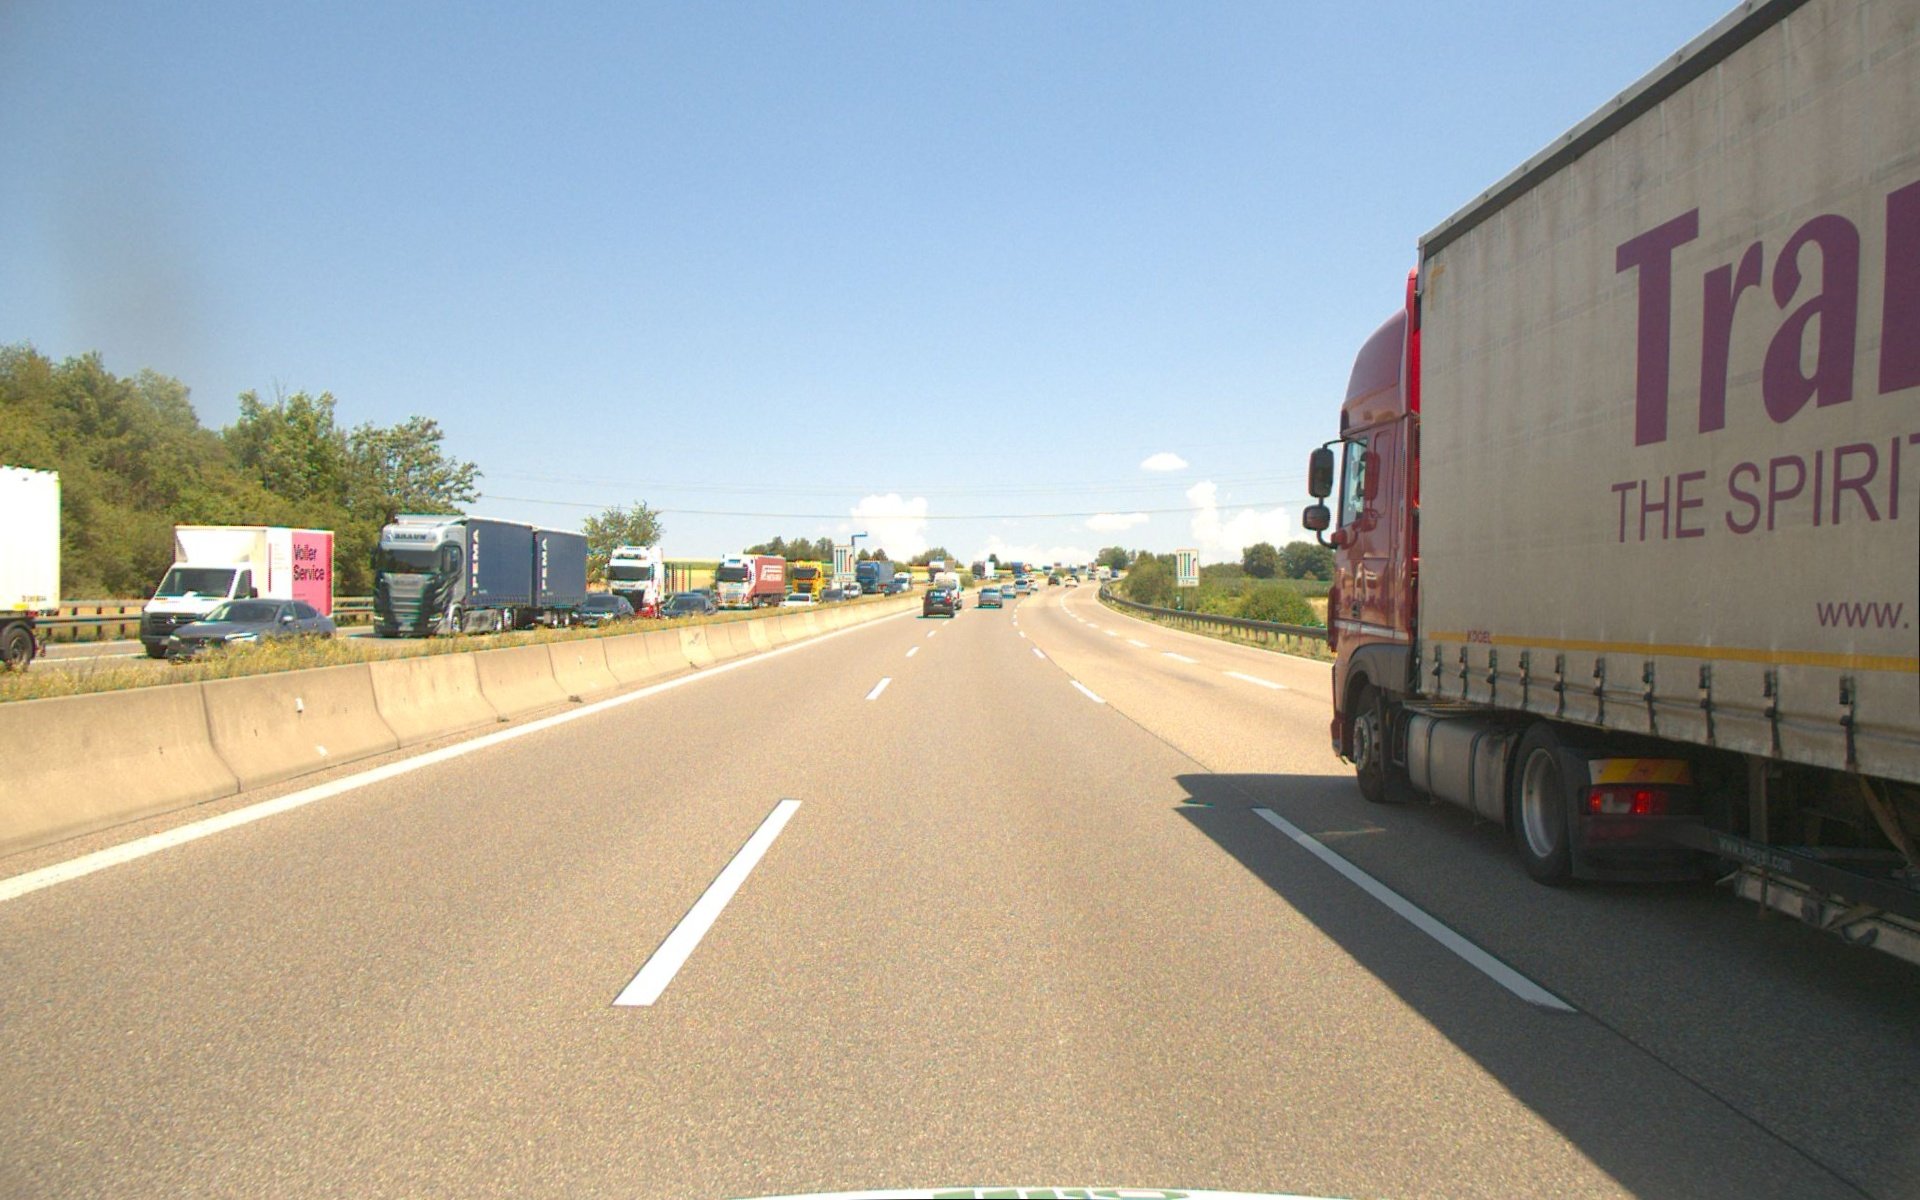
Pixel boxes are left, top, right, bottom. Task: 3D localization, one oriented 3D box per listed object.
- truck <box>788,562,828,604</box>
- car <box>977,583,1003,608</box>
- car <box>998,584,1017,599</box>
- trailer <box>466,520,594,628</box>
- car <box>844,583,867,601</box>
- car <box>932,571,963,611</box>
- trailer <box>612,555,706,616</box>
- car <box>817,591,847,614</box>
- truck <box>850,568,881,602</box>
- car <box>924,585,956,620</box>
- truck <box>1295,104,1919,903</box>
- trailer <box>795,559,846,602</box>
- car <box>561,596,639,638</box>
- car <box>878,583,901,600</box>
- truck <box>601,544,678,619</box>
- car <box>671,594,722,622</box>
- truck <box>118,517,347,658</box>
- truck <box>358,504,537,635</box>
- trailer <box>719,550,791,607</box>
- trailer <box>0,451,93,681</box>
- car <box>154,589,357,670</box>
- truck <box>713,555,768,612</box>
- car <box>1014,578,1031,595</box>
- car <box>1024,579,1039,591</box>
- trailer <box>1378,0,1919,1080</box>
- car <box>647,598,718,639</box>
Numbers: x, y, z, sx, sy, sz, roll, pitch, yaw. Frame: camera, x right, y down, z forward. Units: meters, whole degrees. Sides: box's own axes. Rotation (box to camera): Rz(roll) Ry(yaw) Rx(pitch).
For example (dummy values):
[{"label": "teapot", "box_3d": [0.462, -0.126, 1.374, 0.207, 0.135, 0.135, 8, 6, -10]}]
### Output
[{"label": "truck", "box_3d": [-14.820, -1.688, 161.799, 2.693, 3.904, 7.102, 1, 1, 4]}, {"label": "car", "box_3d": [2.304, -0.352, 126.795, 1.952, 1.781, 4.000, 1, -2, 1]}, {"label": "car", "box_3d": [5.196, -0.924, 179.305, 1.952, 1.613, 4.001, 0, -1, 3]}, {"label": "trailer", "box_3d": [-17.898, -1.059, 69.515, 2.924, 4.266, 8.596, 0, 0, 1]}, {"label": "car", "box_3d": [-10.388, -0.813, 164.165, 1.874, 1.803, 4.763, 1, 0, 1]}, {"label": "car", "box_3d": [-0.916, -0.602, 118.804, 2.135, 2.671, 4.671, 1, -2, -1]}, {"label": "trailer", "box_3d": [-17.306, -0.843, 96.035, 2.799, 3.262, 12.786, 1, 1, 1]}, {"label": "car", "box_3d": [-9.394, 0.161, 121.513, 1.800, 1.611, 4.555, 1, 1, 1]}, {"label": "truck", "box_3d": [-11.695, -1.873, 204.944, 3.011, 4.161, 6.939, 1, 1, 4]}, {"label": "car", "box_3d": [-1.163, 0.119, 94.287, 1.810, 1.893, 4.205, 0, 2, -1]}, {"label": "truck", "box_3d": [4.516, -0.477, 11.757, 2.857, 4.079, 6.510, 1, 0, -1]}, {"label": "trailer", "box_3d": [-14.166, -1.997, 169.484, 2.890, 4.172, 14.390, 1, 1, 4]}, {"label": "car", "box_3d": [-14.112, 0.648, 65.056, 1.952, 1.554, 4.773, 1, 0, 0]}, {"label": "car", "box_3d": [-7.373, -0.866, 173.517, 2.006, 1.725, 5.256, 1, 1, 1]}, {"label": "truck", "box_3d": [-17.414, -1.007, 90.307, 2.841, 3.944, 6.179, 1, 0, 1]}, {"label": "car", "box_3d": [-14.300, 0.405, 90.000, 1.952, 1.481, 5.170, 0, 0, 0]}, {"label": "truck", "box_3d": [-18.292, -0.304, 42.172, 2.486, 3.264, 7.588, 0, 0, 0]}, {"label": "truck", "box_3d": [-18.216, -1.030, 59.738, 2.939, 4.308, 10.735, 0, 0, 1]}, {"label": "trailer", "box_3d": [-16.006, -1.668, 130.282, 3.021, 4.172, 14.388, 1, 1, 3]}, {"label": "trailer", "box_3d": [-18.737, -0.587, 28.770, 2.860, 4.143, 8.230, -1, 0, 1]}, {"label": "car", "box_3d": [-14.588, 0.573, 34.633, 1.953, 1.572, 5.493, 0, 0, -1]}, {"label": "truck", "box_3d": [-16.340, -1.248, 123.402, 2.972, 4.153, 6.317, 1, 1, 3]}, {"label": "car", "box_3d": [7.496, -1.647, 199.583, 1.952, 1.937, 4.000, 0, -2, 1]}, {"label": "car", "box_3d": [9.940, -2.102, 229.536, 1.951, 1.579, 4.003, 2, 2, 5]}, {"label": "trailer", "box_3d": [4.627, -0.493, 5.210, 2.859, 4.189, 13.854, 1, 0, -1]}, {"label": "car", "box_3d": [-10.921, 0.697, 65.349, 1.952, 1.554, 4.773, 1, 0, 0]}]
